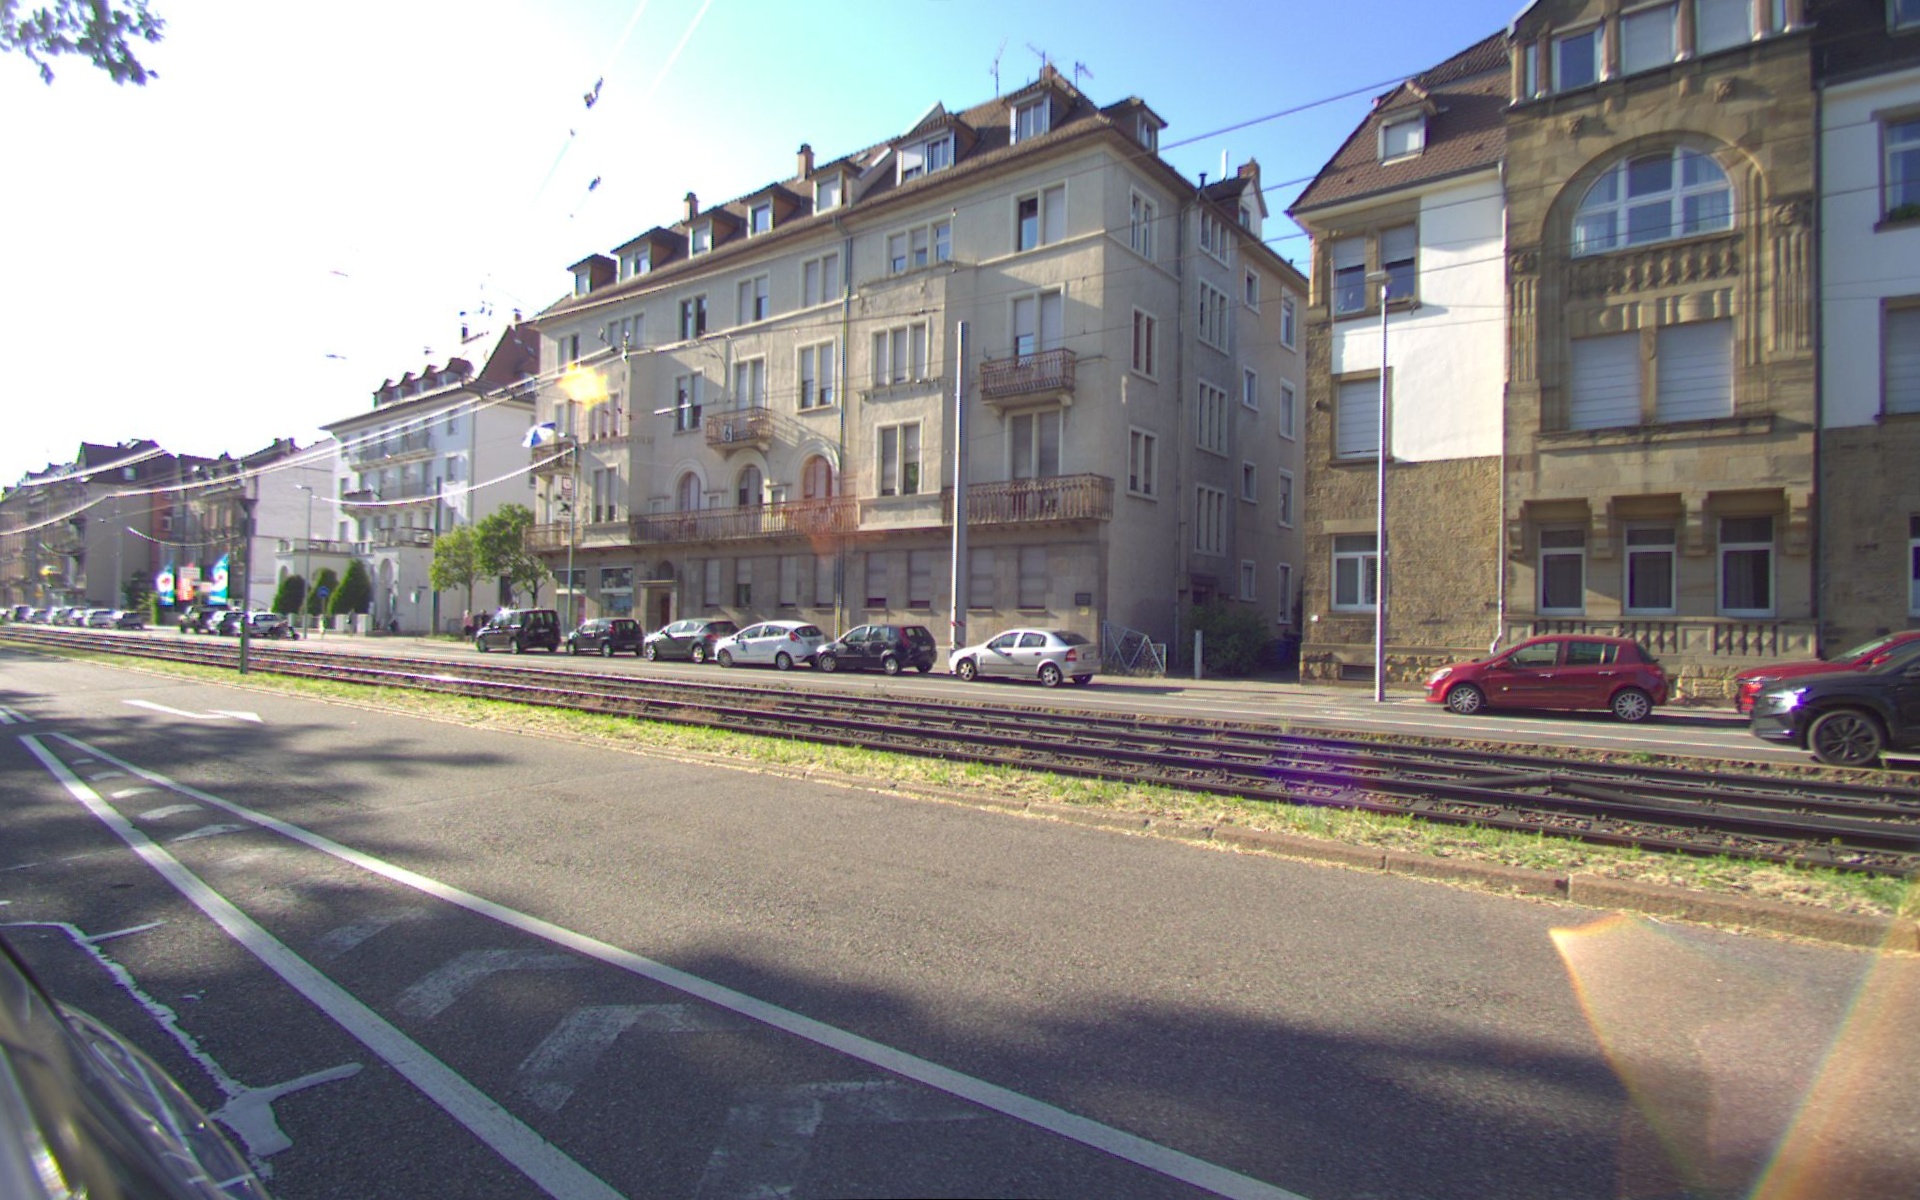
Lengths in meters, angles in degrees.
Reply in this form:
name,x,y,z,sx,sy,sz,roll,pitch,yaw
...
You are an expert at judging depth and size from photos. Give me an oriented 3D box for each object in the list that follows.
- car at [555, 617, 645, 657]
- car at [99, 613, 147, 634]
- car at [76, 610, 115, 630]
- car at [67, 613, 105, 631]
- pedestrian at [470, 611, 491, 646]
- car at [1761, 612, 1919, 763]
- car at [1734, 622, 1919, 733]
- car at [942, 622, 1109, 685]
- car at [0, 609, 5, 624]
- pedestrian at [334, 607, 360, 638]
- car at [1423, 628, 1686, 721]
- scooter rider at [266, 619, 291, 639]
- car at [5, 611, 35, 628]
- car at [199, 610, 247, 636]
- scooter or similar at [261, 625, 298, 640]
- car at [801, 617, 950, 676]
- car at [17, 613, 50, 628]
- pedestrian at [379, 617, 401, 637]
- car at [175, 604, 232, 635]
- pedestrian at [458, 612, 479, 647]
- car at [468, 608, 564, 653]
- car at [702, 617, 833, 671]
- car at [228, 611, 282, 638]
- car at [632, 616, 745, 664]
name,x,y,z,sx,sy,sz,roll,pitch,yaw
car,-13.835,1.396,38.854,3.503,1.401,1.612,-1,1,38
car,-67.619,1.860,81.730,4.834,1.471,1.903,-1,3,37
car,-74.845,1.722,87.614,4.840,1.707,1.900,-1,-1,41
car,-79.068,1.975,91.550,4.840,1.572,1.900,0,-2,42
pedestrian,-24.002,1.431,50.693,0.843,1.709,0.592,0,0,-13
car,11.399,0.976,11.000,4.152,1.614,1.620,0,-3,37
car,14.674,1.176,15.566,4.349,1.570,1.815,0,0,40
car,1.625,1.325,26.081,4.155,1.480,1.619,-1,-1,39
car,-114.598,1.960,119.665,3.994,1.821,1.777,0,0,37
pedestrian,-37.127,1.348,61.320,0.930,1.791,0.986,0,0,24
car,10.858,1.286,18.642,4.025,1.401,1.818,0,1,34
scooter rider,-38.558,1.639,57.278,0.962,1.097,0.810,2,-2,-20
car,-102.785,2.105,110.675,4.721,1.821,1.644,0,0,38
car,-47.691,1.461,65.494,4.157,1.518,1.618,1,1,41
scooter or similar,-38.524,1.846,57.287,1.542,0.776,0.810,2,-2,-20
car,-2.475,1.306,29.349,4.145,1.479,1.623,-1,3,32
car,-97.692,2.163,106.674,4.622,1.550,1.902,0,-1,39
pedestrian,-35.254,1.656,62.611,0.892,1.196,0.870,1,0,31
car,-52.213,1.303,69.799,5.588,2.025,2.056,0,0,41
pedestrian,-24.251,1.436,49.933,0.843,1.709,0.592,0,0,-13
car,-18.670,1.258,42.456,4.395,1.800,1.845,-1,0,38
car,-6.063,1.327,31.813,3.971,1.479,1.623,-1,3,33
car,-43.295,1.490,62.121,3.997,1.521,1.776,0,0,40
car,-9.446,1.328,35.113,4.154,1.480,1.619,0,1,38
